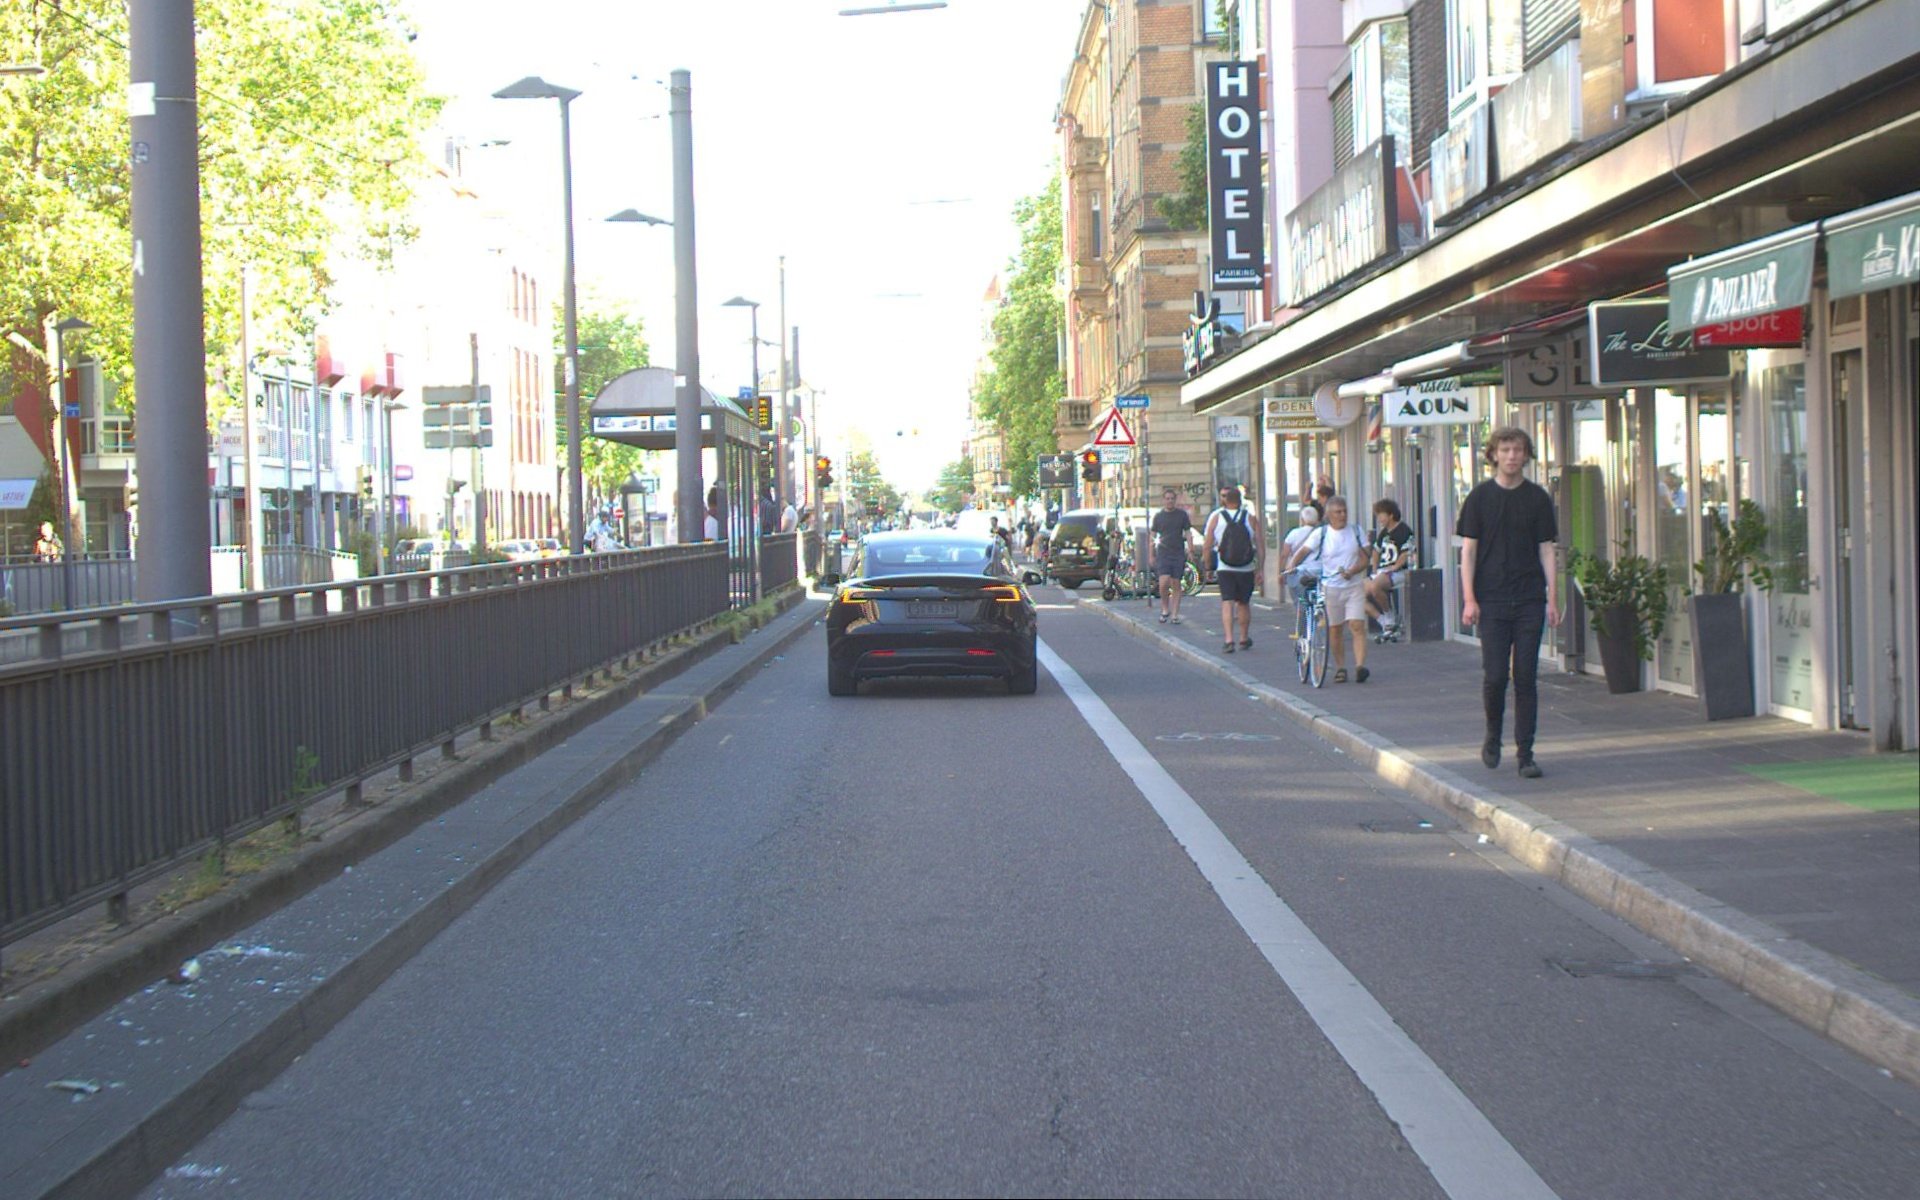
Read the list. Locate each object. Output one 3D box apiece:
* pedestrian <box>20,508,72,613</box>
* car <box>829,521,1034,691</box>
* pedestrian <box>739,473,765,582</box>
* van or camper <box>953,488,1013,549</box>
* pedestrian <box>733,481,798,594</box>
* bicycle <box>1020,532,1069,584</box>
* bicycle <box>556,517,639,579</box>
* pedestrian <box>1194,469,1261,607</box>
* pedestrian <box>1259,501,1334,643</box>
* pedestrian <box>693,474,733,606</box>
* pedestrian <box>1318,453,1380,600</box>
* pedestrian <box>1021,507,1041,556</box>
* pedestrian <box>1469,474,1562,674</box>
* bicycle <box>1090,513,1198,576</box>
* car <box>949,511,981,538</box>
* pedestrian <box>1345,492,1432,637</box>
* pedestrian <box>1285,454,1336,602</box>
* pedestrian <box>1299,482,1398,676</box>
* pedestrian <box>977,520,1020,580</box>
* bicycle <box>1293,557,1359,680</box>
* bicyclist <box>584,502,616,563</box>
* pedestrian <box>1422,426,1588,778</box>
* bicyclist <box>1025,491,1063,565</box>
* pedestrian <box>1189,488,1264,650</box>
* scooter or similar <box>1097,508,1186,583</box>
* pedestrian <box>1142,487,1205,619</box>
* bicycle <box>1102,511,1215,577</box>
[{"bbox_3d":[-17.709,-0.776,66.621,0.701,2.006,0.689,-1,2,11],"label":"pedestrian"},{"bbox_3d":[-0.284,0.009,30.922,1.719,1.400,3.710,0,2,-1],"label":"car"},{"bbox_3d":[-3.196,-1.114,52.867,0.351,1.663,0.529,-1,2,-2],"label":"pedestrian"},{"bbox_3d":[0.755,-2.750,117.127,1.931,2.030,5.476,0,1,-1],"label":"van or camper"},{"bbox_3d":[-3.156,-1.013,55.873,0.770,1.825,0.804,-1,1,-30],"label":"pedestrian"},{"bbox_3d":[1.892,-0.955,77.026,0.647,1.135,2.096,-1,1,-11],"label":"bicycle"},{"bbox_3d":[-8.998,-1.291,85.329,1.948,1.511,0.635,-1,2,-14],"label":"bicycle"},{"bbox_3d":[3.620,-0.841,46.560,0.706,1.814,0.763,-4,1,0],"label":"pedestrian"},{"bbox_3d":[3.632,-0.309,37.157,0.636,1.478,0.654,-4,1,-1],"label":"pedestrian"},{"bbox_3d":[-2.970,-0.729,41.389,0.424,1.568,0.448,-1,2,0],"label":"pedestrian"},{"bbox_3d":[4.776,-0.904,42.200,0.629,1.763,0.501,-3,1,0],"label":"pedestrian"},{"bbox_3d":[2.647,-2.553,128.735,0.672,1.808,0.756,-2,1,-1],"label":"pedestrian"},{"bbox_3d":[4.518,-0.218,27.999,0.600,1.584,0.554,-3,2,-1],"label":"pedestrian"},{"bbox_3d":[3.424,-1.042,64.097,1.945,1.103,0.564,-2,2,-2],"label":"bicycle"},{"bbox_3d":[0.256,-4.129,188.169,1.710,1.452,4.551,-1,1,-1],"label":"car"},{"bbox_3d":[4.518,-0.380,36.293,0.738,1.467,0.707,-4,1,1],"label":"pedestrian"},{"bbox_3d":[4.442,-0.918,43.606,0.451,1.843,0.812,-3,2,-2],"label":"pedestrian"},{"bbox_3d":[3.364,-0.193,29.816,0.663,1.625,0.705,-4,2,-1],"label":"pedestrian"},{"bbox_3d":[1.012,-1.324,90.140,0.844,1.543,0.698,0,2,35],"label":"pedestrian"},{"bbox_3d":[3.161,0.144,29.751,0.302,0.986,1.760,-3,2,-1],"label":"bicycle"},{"bbox_3d":[-8.945,-1.684,85.329,0.679,1.511,0.635,-1,2,-15],"label":"bicyclist"},{"bbox_3d":[2.994,-0.003,18.953,0.675,1.854,0.992,-3,1,1],"label":"pedestrian"},{"bbox_3d":[1.877,-1.613,77.016,0.655,1.650,0.927,-1,1,-11],"label":"bicyclist"},{"bbox_3d":[2.860,-0.341,36.934,0.744,1.721,0.815,0,1,0],"label":"pedestrian"},{"bbox_3d":[3.200,-0.963,60.765,1.478,1.225,0.591,-3,1,0],"label":"scooter or similar"},{"bbox_3d":[2.874,-0.640,46.330,0.667,1.722,0.810,-4,1,-1],"label":"pedestrian"},{"bbox_3d":[3.539,-0.995,61.421,1.945,1.103,0.564,-2,2,-2],"label":"bicycle"}]
